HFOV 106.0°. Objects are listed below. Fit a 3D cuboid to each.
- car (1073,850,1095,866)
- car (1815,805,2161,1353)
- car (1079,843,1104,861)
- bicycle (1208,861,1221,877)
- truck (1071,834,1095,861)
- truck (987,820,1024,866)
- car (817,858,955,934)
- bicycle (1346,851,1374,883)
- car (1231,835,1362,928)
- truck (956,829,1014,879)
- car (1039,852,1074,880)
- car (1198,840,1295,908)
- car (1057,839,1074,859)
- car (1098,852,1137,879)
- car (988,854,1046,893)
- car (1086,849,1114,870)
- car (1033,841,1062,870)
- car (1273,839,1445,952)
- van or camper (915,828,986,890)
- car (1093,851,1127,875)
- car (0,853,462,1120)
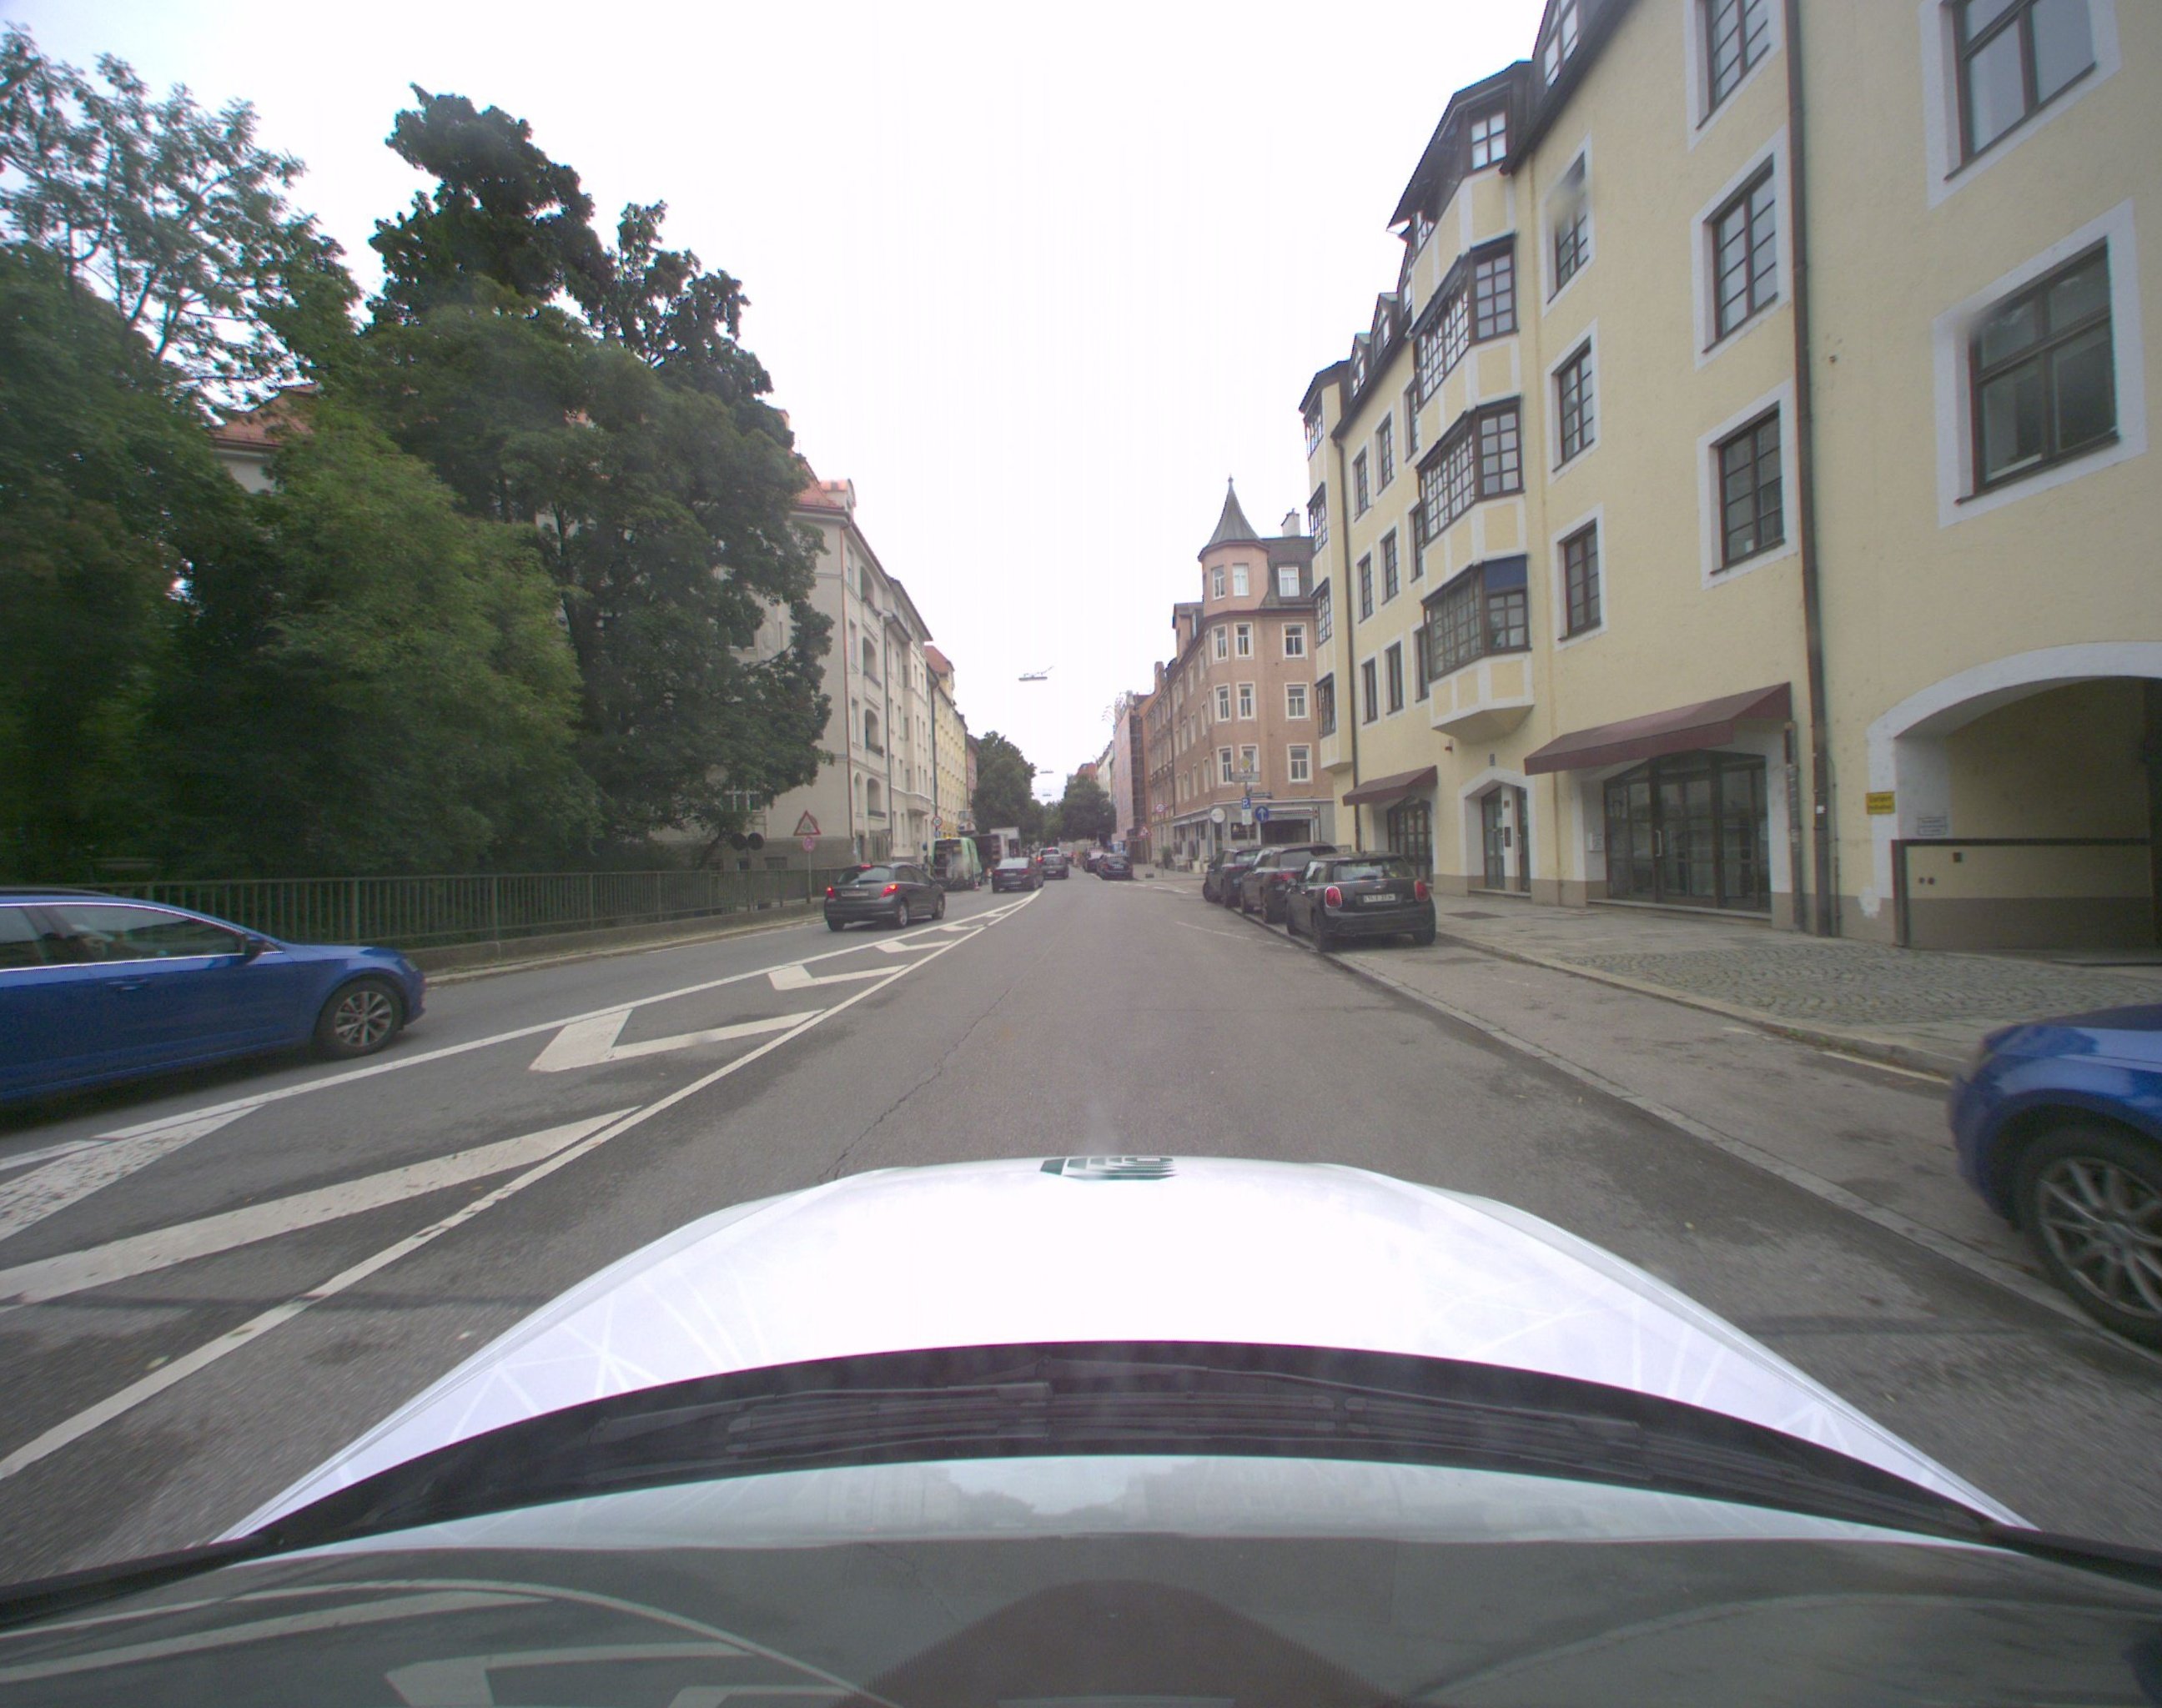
[{"bbox_3d":[0.261,0.364,78.933,1.984,1.429,4.139,-2,1,-1],"label":"car"},{"bbox_3d":[3.789,0.599,1.028,1.750,1.496,4.490,-4,0,2],"label":"car"},{"bbox_3d":[0.854,-0.187,69.277,1.984,1.429,4.139,-2,1,-1],"label":"car"},{"bbox_3d":[6.924,0.781,42.238,0.455,0.805,1.326,-2,0,1],"label":"bicycle"},{"bbox_3d":[0.162,-0.781,95.280,2.485,2.973,5.323,-2,0,-2],"label":"truck"},{"bbox_3d":[-6.876,-1.016,75.158,3.006,3.951,6.987,-2,0,-3],"label":"truck"},{"bbox_3d":[-4.433,0.902,19.169,1.749,1.461,4.083,-2,0,7],"label":"car"},{"bbox_3d":[8.923,0.413,26.055,0.270,0.977,1.684,-1,0,-1],"label":"bicycle"},{"bbox_3d":[4.604,0.514,18.103,1.750,1.679,4.709,-4,0,2],"label":"car"},{"bbox_3d":[-5.986,-0.088,52.108,2.764,2.872,7.201,-2,1,0],"label":"truck"},{"bbox_3d":[-1.435,0.700,48.577,1.984,1.429,4.139,-2,1,-1],"label":"car"},{"bbox_3d":[4.700,0.523,23.786,1.813,1.679,4.510,-4,0,0],"label":"car"},{"bbox_3d":[-1.888,-0.622,101.095,1.933,2.480,4.782,-2,0,0],"label":"car"},{"bbox_3d":[2.023,0.629,46.745,1.840,1.429,4.179,1,1,-3],"label":"car"},{"bbox_3d":[-2.776,0.803,36.362,1.982,1.429,4.909,-2,1,2],"label":"car"},{"bbox_3d":[1.395,0.365,61.364,1.840,1.429,4.302,1,1,-3],"label":"car"},{"bbox_3d":[-2.531,0.061,62.446,1.984,2.075,4.139,-2,1,-1],"label":"car"},{"bbox_3d":[4.386,0.570,13.446,1.748,1.496,3.828,-4,0,5],"label":"car"},{"bbox_3d":[-6.553,0.189,41.693,2.593,2.840,6.183,-2,1,-1],"label":"van or camper"},{"bbox_3d":[1.866,0.559,52.710,1.840,1.429,4.136,1,1,-3],"label":"car"},{"bbox_3d":[-6.949,0.788,5.118,1.975,1.454,4.747,-2,0,9],"label":"car"}]
